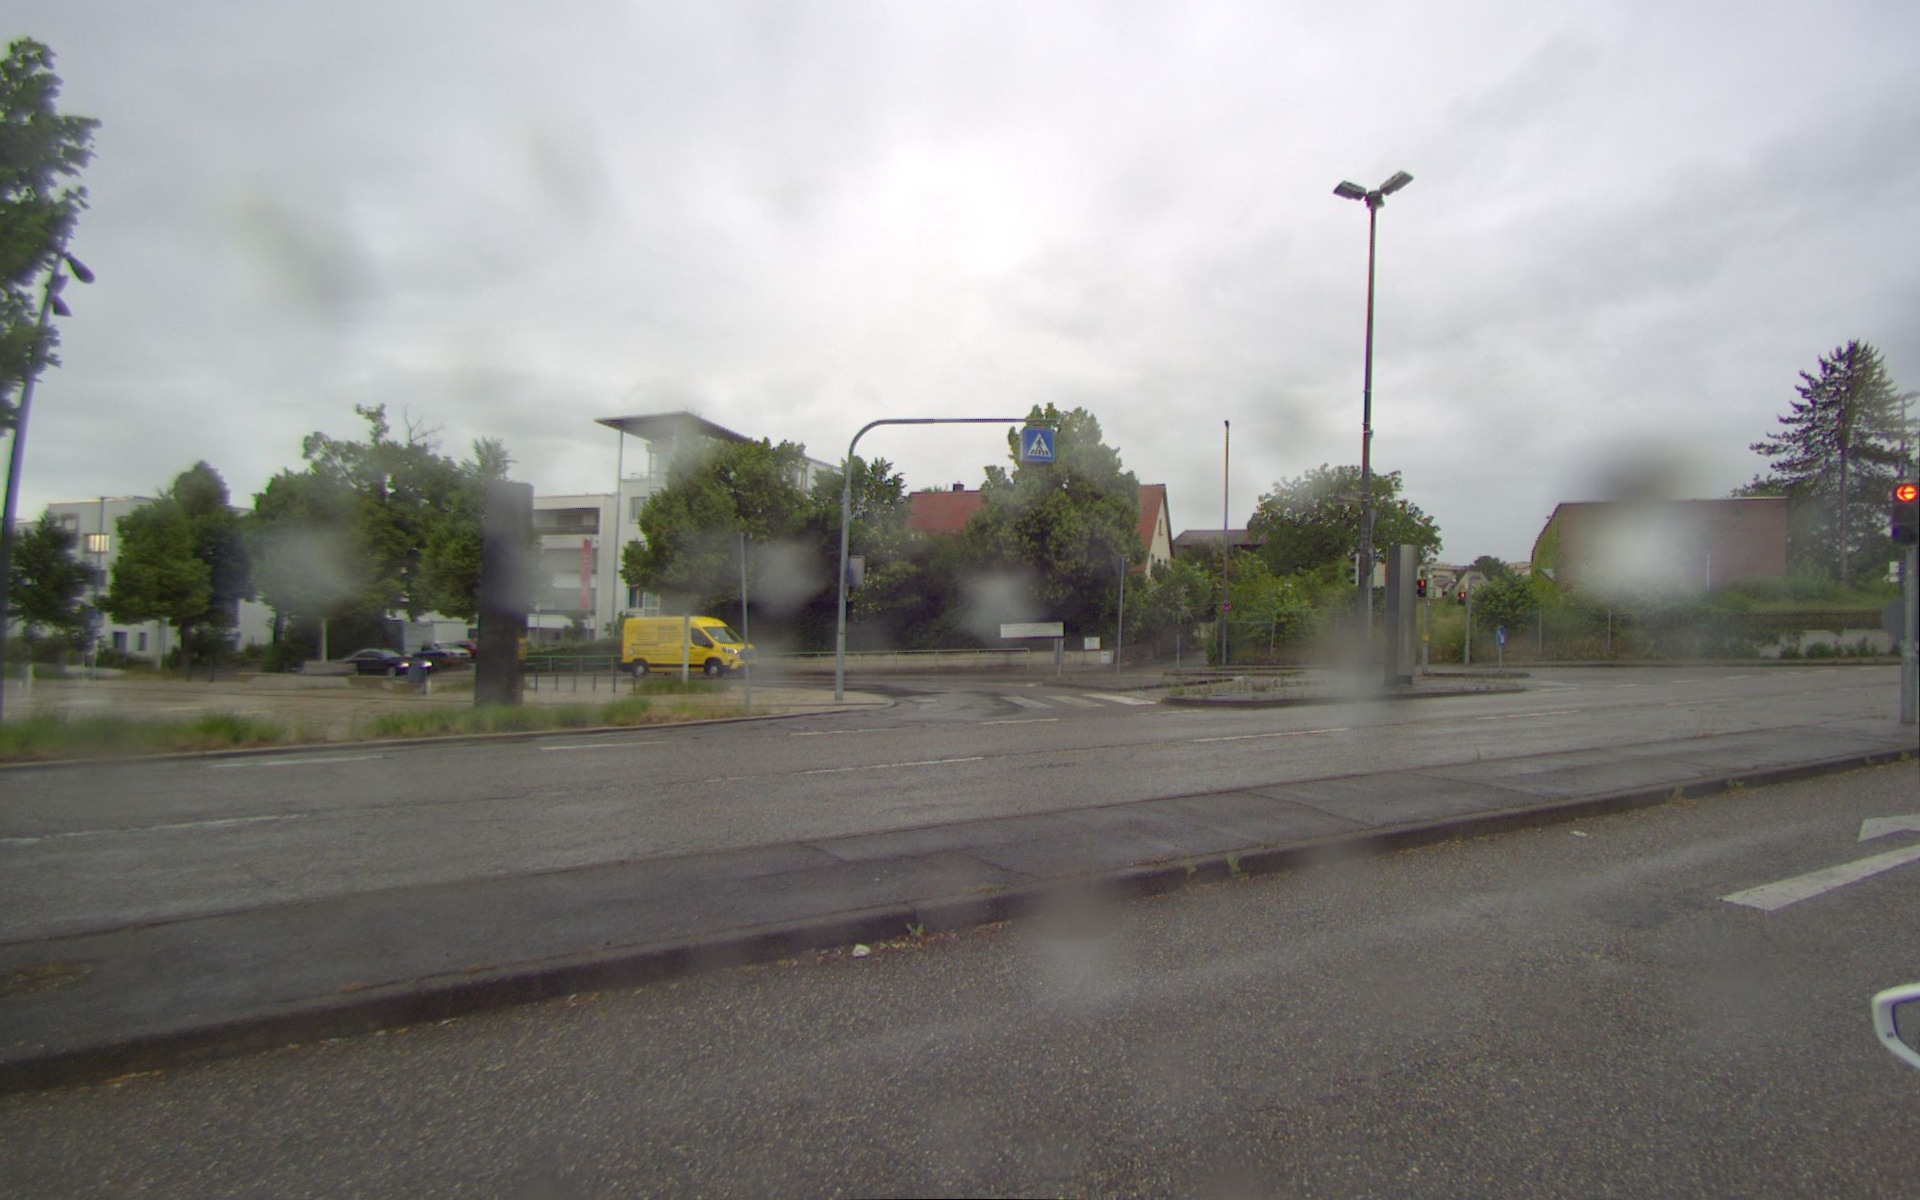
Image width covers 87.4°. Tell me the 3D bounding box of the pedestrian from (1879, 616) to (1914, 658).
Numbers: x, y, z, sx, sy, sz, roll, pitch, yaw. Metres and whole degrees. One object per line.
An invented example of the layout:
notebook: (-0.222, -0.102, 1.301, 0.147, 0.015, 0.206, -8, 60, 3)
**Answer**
pedestrian: (35.752, 1.415, 38.352, 0.816, 1.588, 0.756, 1, -3, -31)

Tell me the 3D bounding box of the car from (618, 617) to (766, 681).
car: (-10.855, 2.012, 40.599, 5.805, 2.441, 1.999, -2, -3, 24)

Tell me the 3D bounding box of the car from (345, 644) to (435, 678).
car: (-27.207, 2.894, 47.978, 3.929, 1.559, 1.997, -2, -3, 29)
